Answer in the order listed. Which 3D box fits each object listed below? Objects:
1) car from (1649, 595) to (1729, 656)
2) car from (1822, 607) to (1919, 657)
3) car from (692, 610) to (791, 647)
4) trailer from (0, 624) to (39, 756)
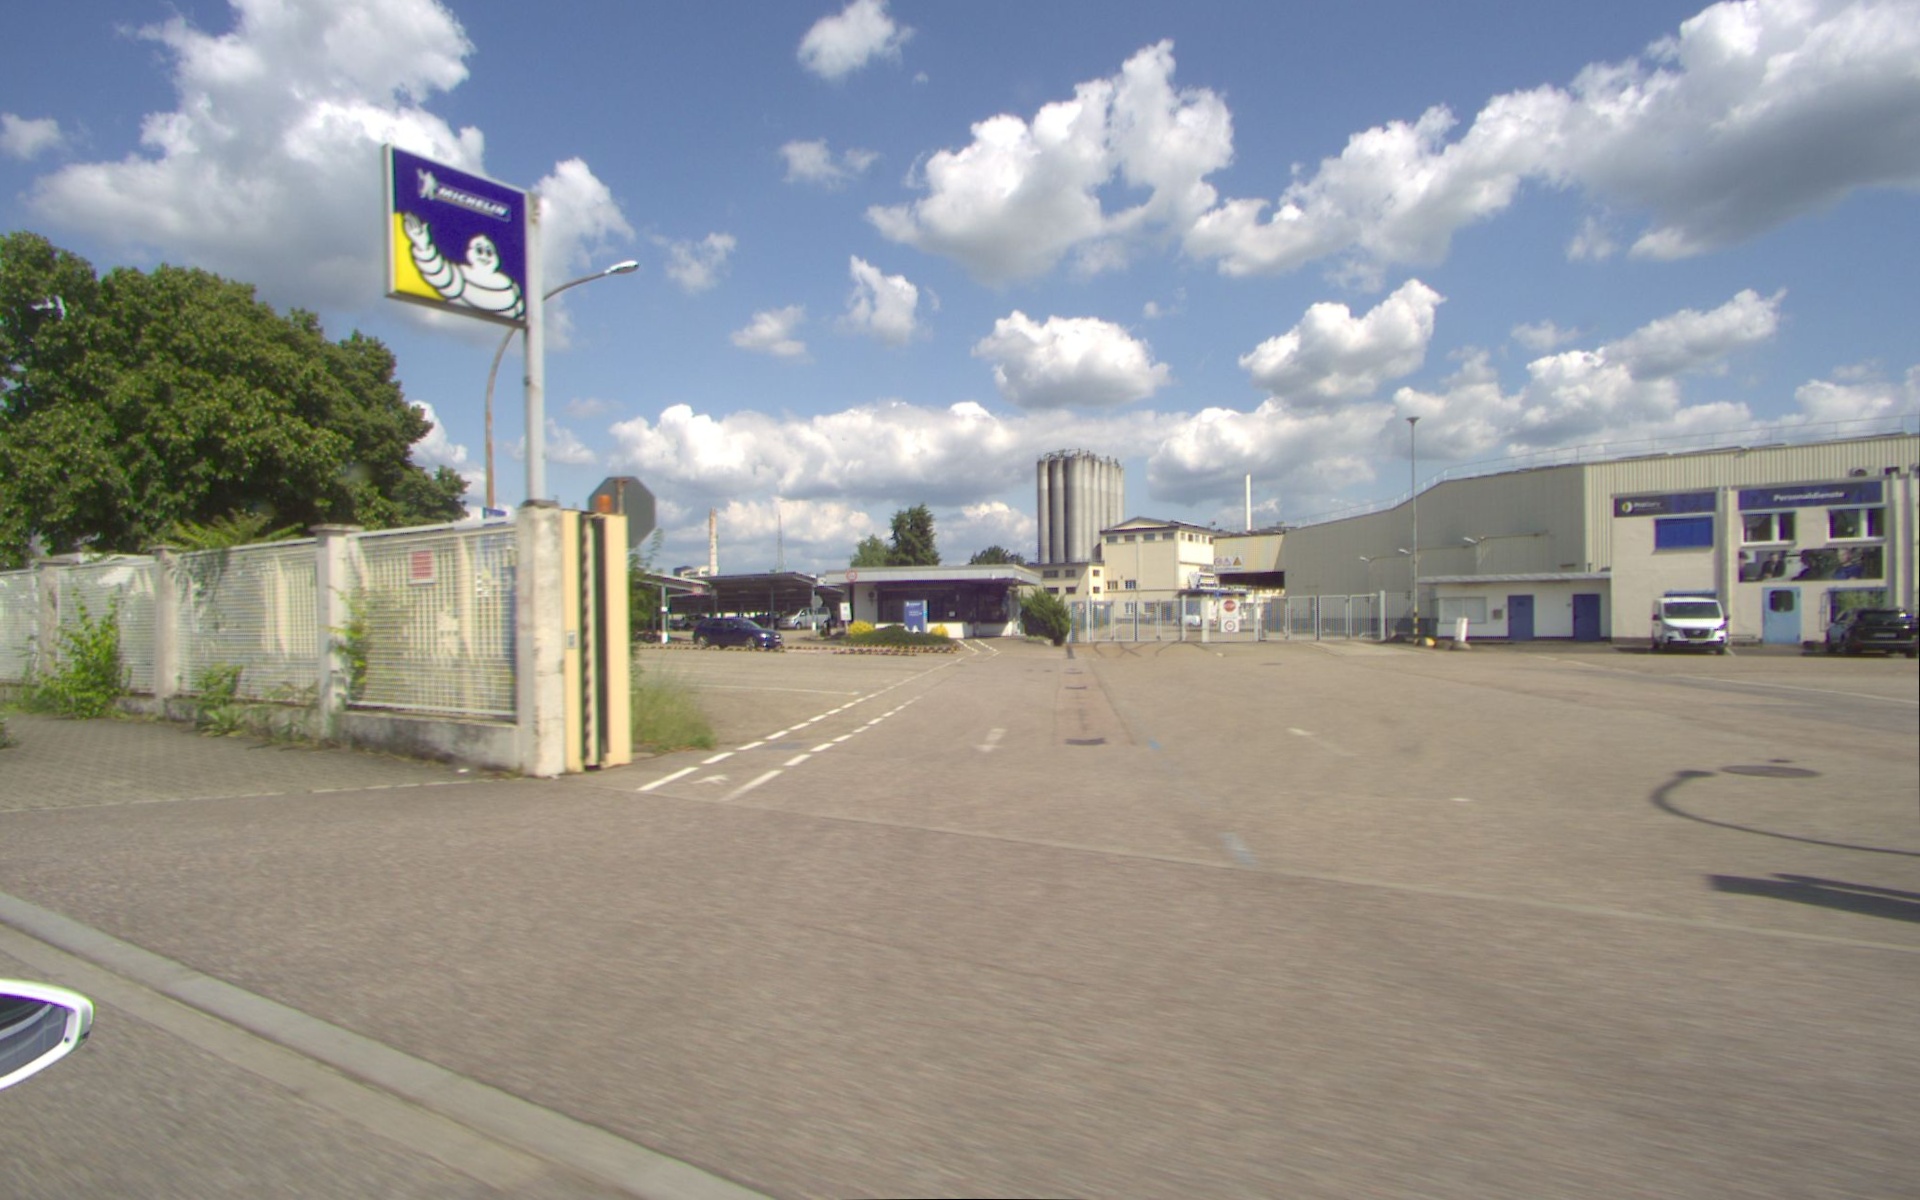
[{"bbox_3d":[26.815,0.903,36.971,1.907,2.059,4.381,-2,0,30],"label":"car"},{"bbox_3d":[30.132,1.082,33.040,1.819,1.528,3.983,-2,-3,31],"label":"car"},{"bbox_3d":[-9.774,1.304,44.901,3.975,1.536,1.831,-1,-3,18],"label":"car"},{"bbox_3d":[-12.808,1.100,11.551,4.479,1.436,1.747,-2,1,28],"label":"trailer"}]
